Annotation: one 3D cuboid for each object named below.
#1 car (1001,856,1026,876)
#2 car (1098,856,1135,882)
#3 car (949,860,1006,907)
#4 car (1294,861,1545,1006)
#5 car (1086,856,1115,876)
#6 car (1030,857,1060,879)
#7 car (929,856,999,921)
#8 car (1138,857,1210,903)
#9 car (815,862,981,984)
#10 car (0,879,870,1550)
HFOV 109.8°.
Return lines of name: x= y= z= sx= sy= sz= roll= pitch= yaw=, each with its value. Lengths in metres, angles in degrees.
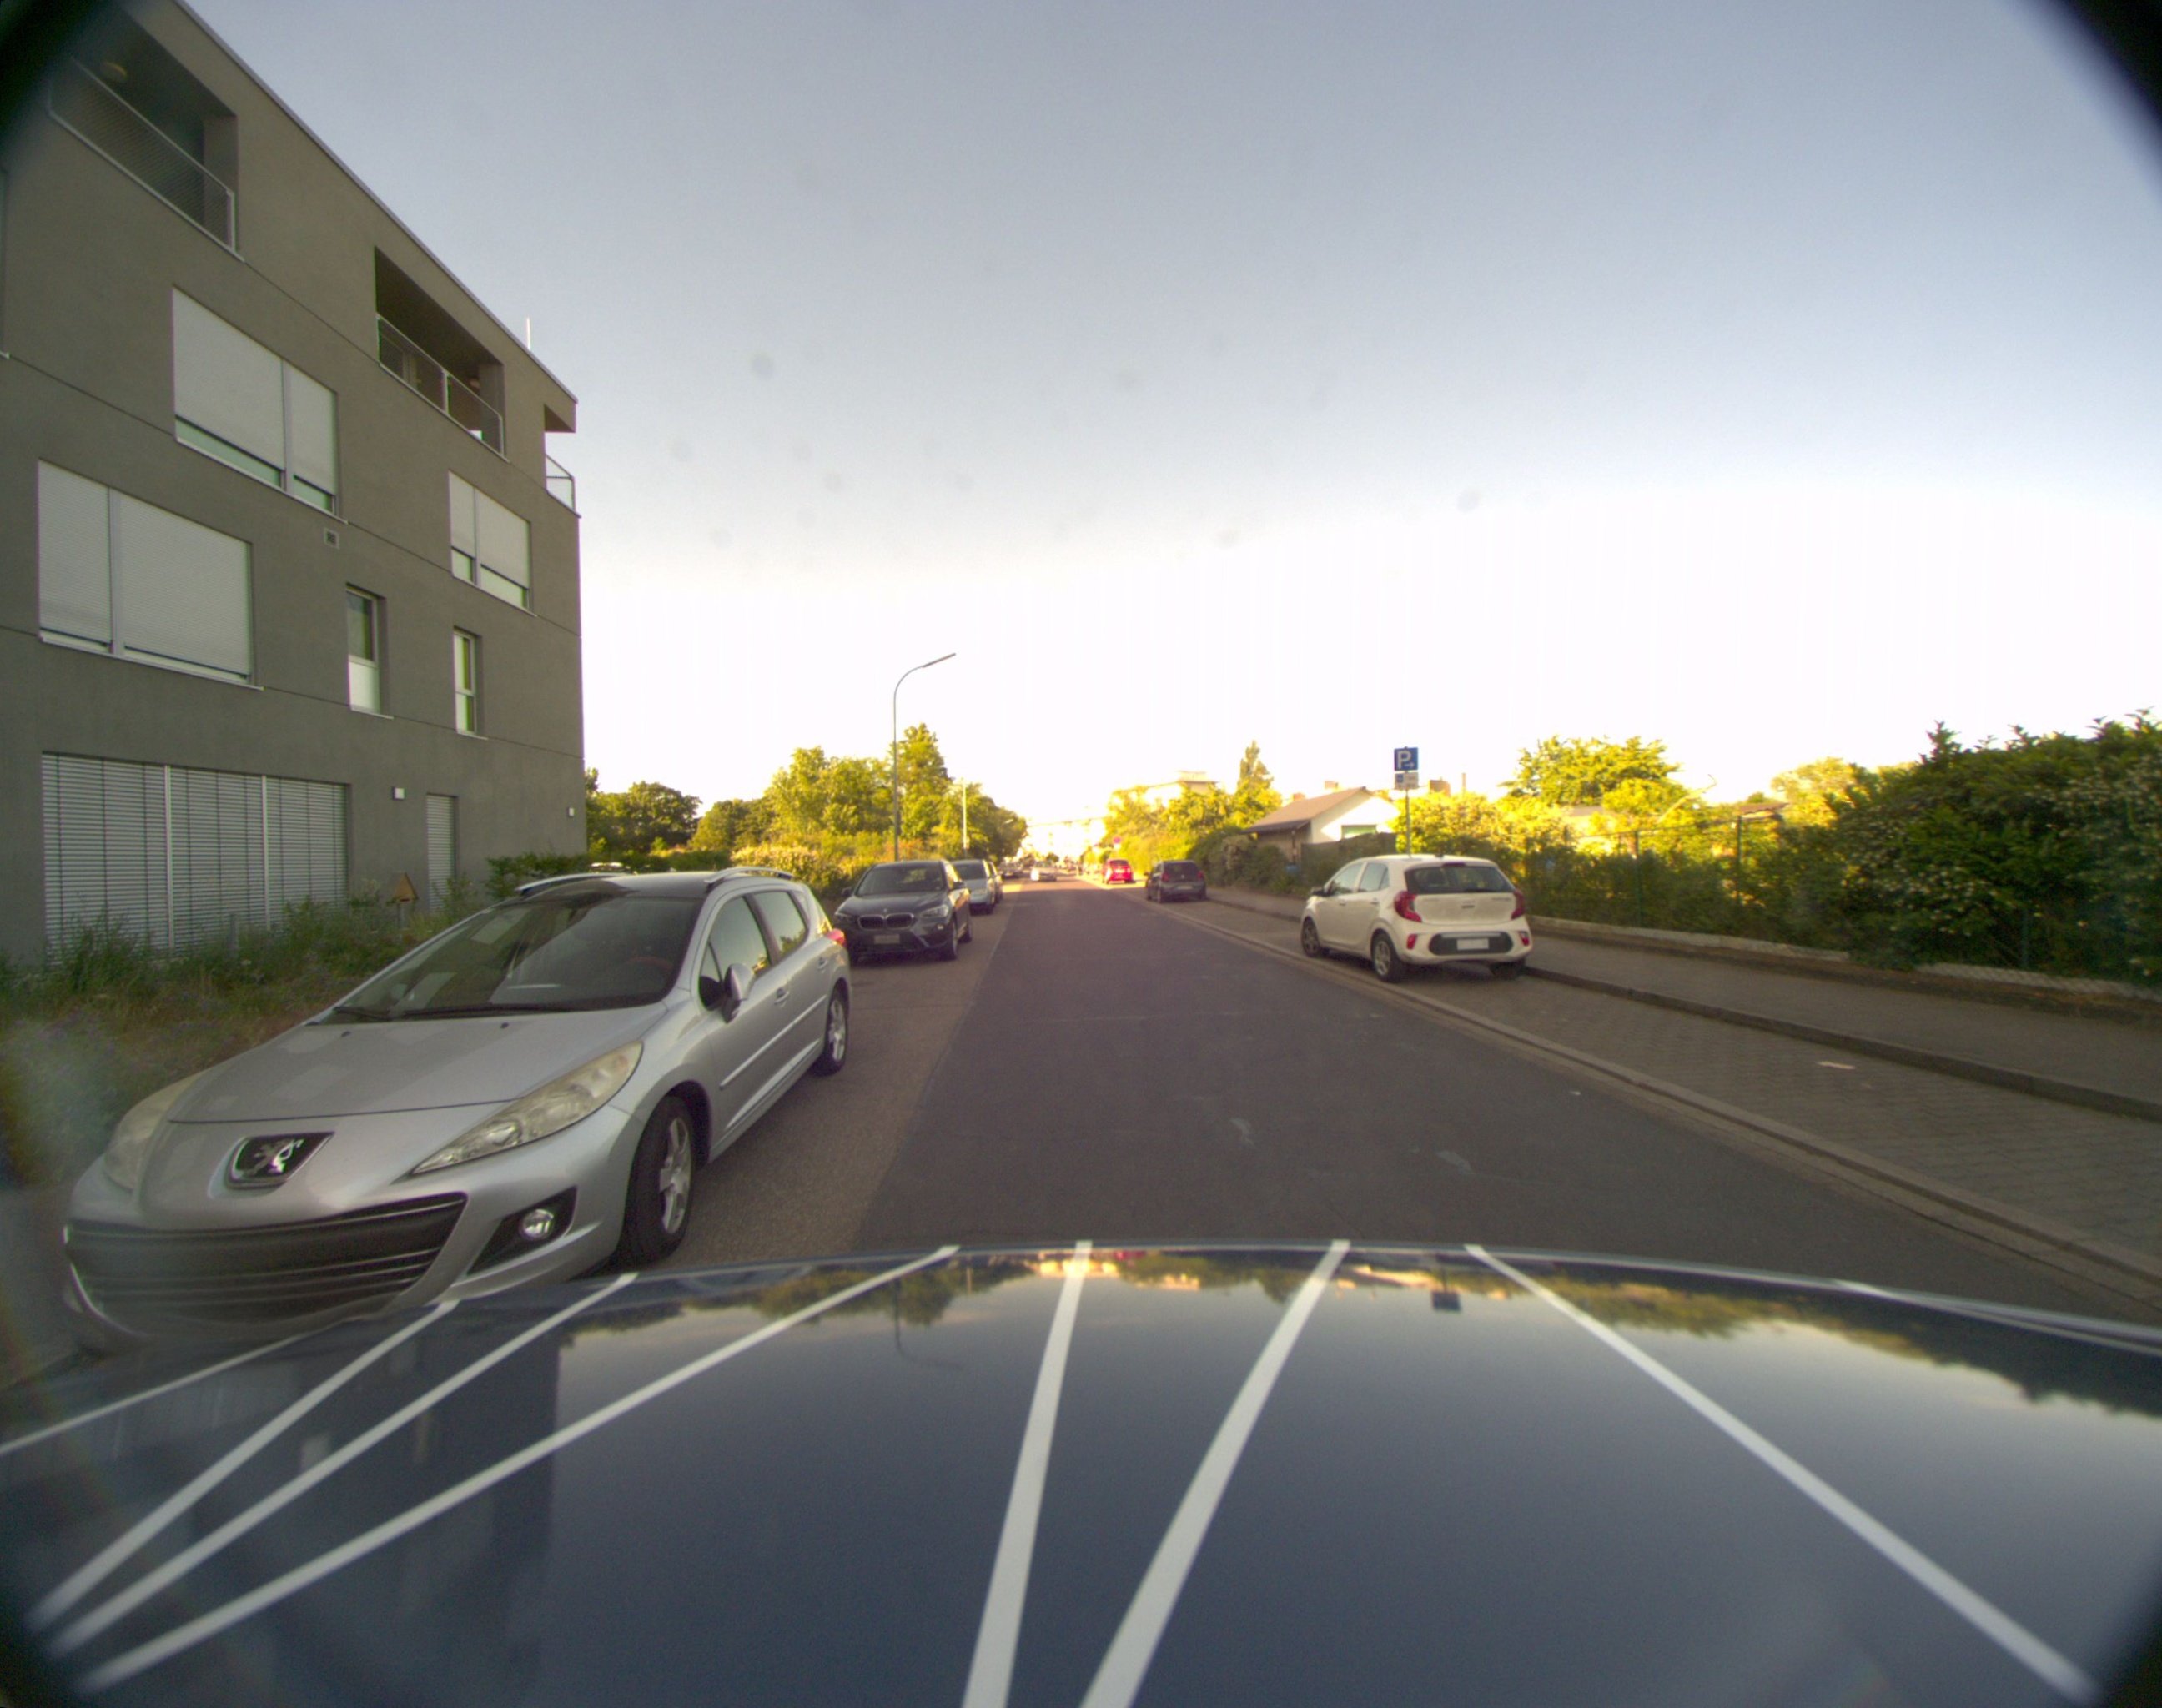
car: x=-5.648 y=0.993 z=63.709 sx=1.874 sy=1.517 sz=4.154 roll=-2 pitch=0 yaw=-3
car: x=2.093 y=0.848 z=45.535 sx=1.700 sy=1.421 sz=4.384 roll=-1 pitch=0 yaw=-4
car: x=-3.790 y=1.044 z=28.236 sx=1.711 sy=1.517 sz=3.092 roll=-4 pitch=0 yaw=-3
car: x=4.102 y=0.861 z=9.819 sx=1.532 sy=1.479 sz=3.400 roll=-2 pitch=0 yaw=-4
car: x=1.381 y=0.853 z=55.094 sx=1.700 sy=1.361 sz=3.909 roll=-1 pitch=0 yaw=-4
car: x=-2.532 y=0.937 z=53.046 sx=1.680 sy=1.440 sz=3.997 roll=-1 pitch=0 yaw=-8
car: x=-3.487 y=0.977 z=23.399 sx=1.712 sy=1.695 sz=4.348 roll=-4 pitch=0 yaw=-5
car: x=3.257 y=0.877 z=27.496 sx=1.700 sy=1.415 sz=4.515 roll=-3 pitch=0 yaw=-4
car: x=-2.887 y=0.995 z=13.084 sx=1.749 sy=1.557 sz=4.802 roll=-3 pitch=0 yaw=-2
car: x=-2.503 y=0.996 z=4.017 sx=1.711 sy=1.517 sz=4.154 roll=-2 pitch=0 yaw=-3
